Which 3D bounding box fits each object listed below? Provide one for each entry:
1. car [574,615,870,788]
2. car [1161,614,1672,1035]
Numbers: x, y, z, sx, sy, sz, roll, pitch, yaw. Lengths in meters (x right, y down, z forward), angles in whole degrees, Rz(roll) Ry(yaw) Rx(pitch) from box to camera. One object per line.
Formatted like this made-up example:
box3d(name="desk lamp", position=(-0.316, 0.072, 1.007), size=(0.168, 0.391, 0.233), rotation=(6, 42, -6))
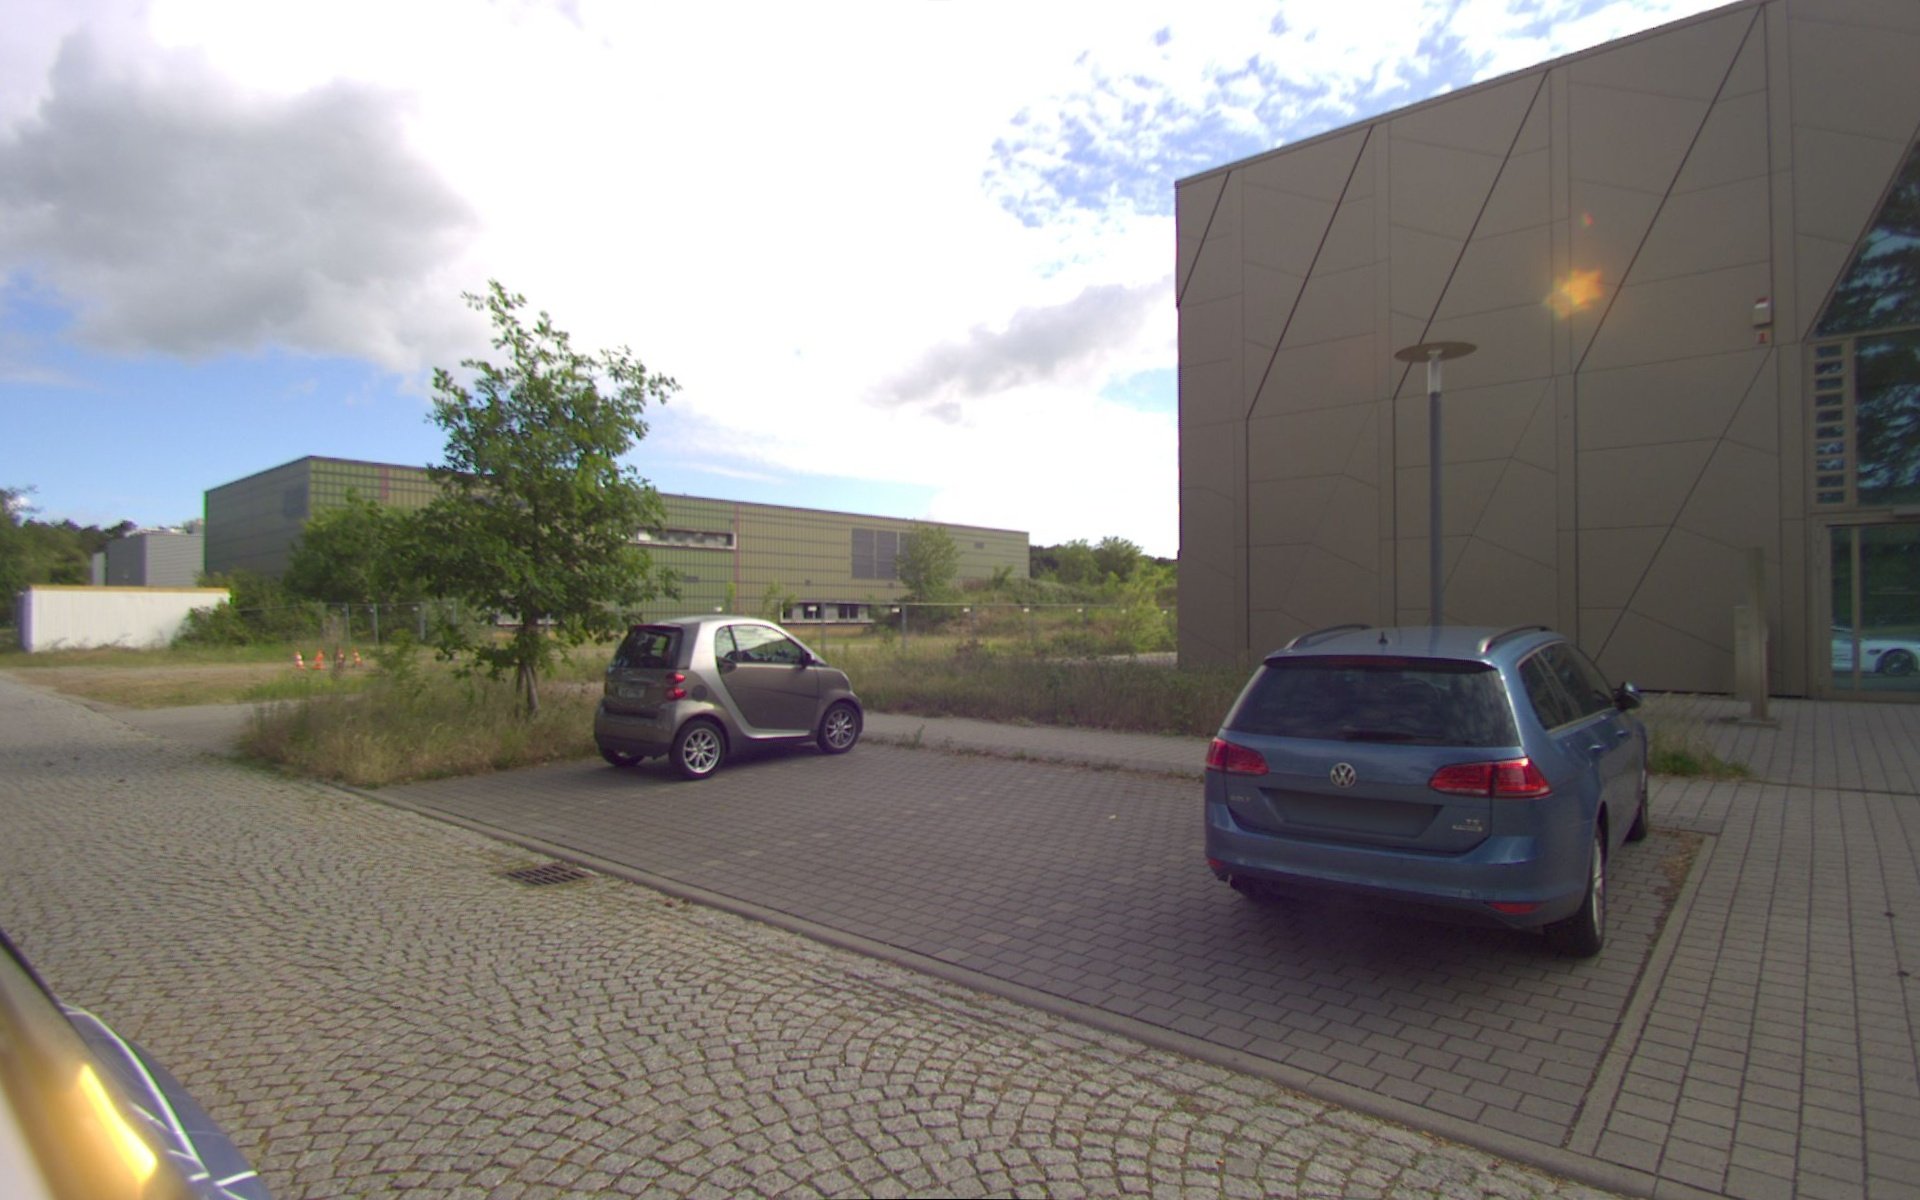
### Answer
box3d(name="car", position=(-2.468, 0.961, 10.788), size=(1.609, 1.523, 2.627), rotation=(-2, -1, 40))
box3d(name="car", position=(2.949, 0.851, 5.898), size=(1.771, 1.439, 4.265), rotation=(-2, -1, 37))
